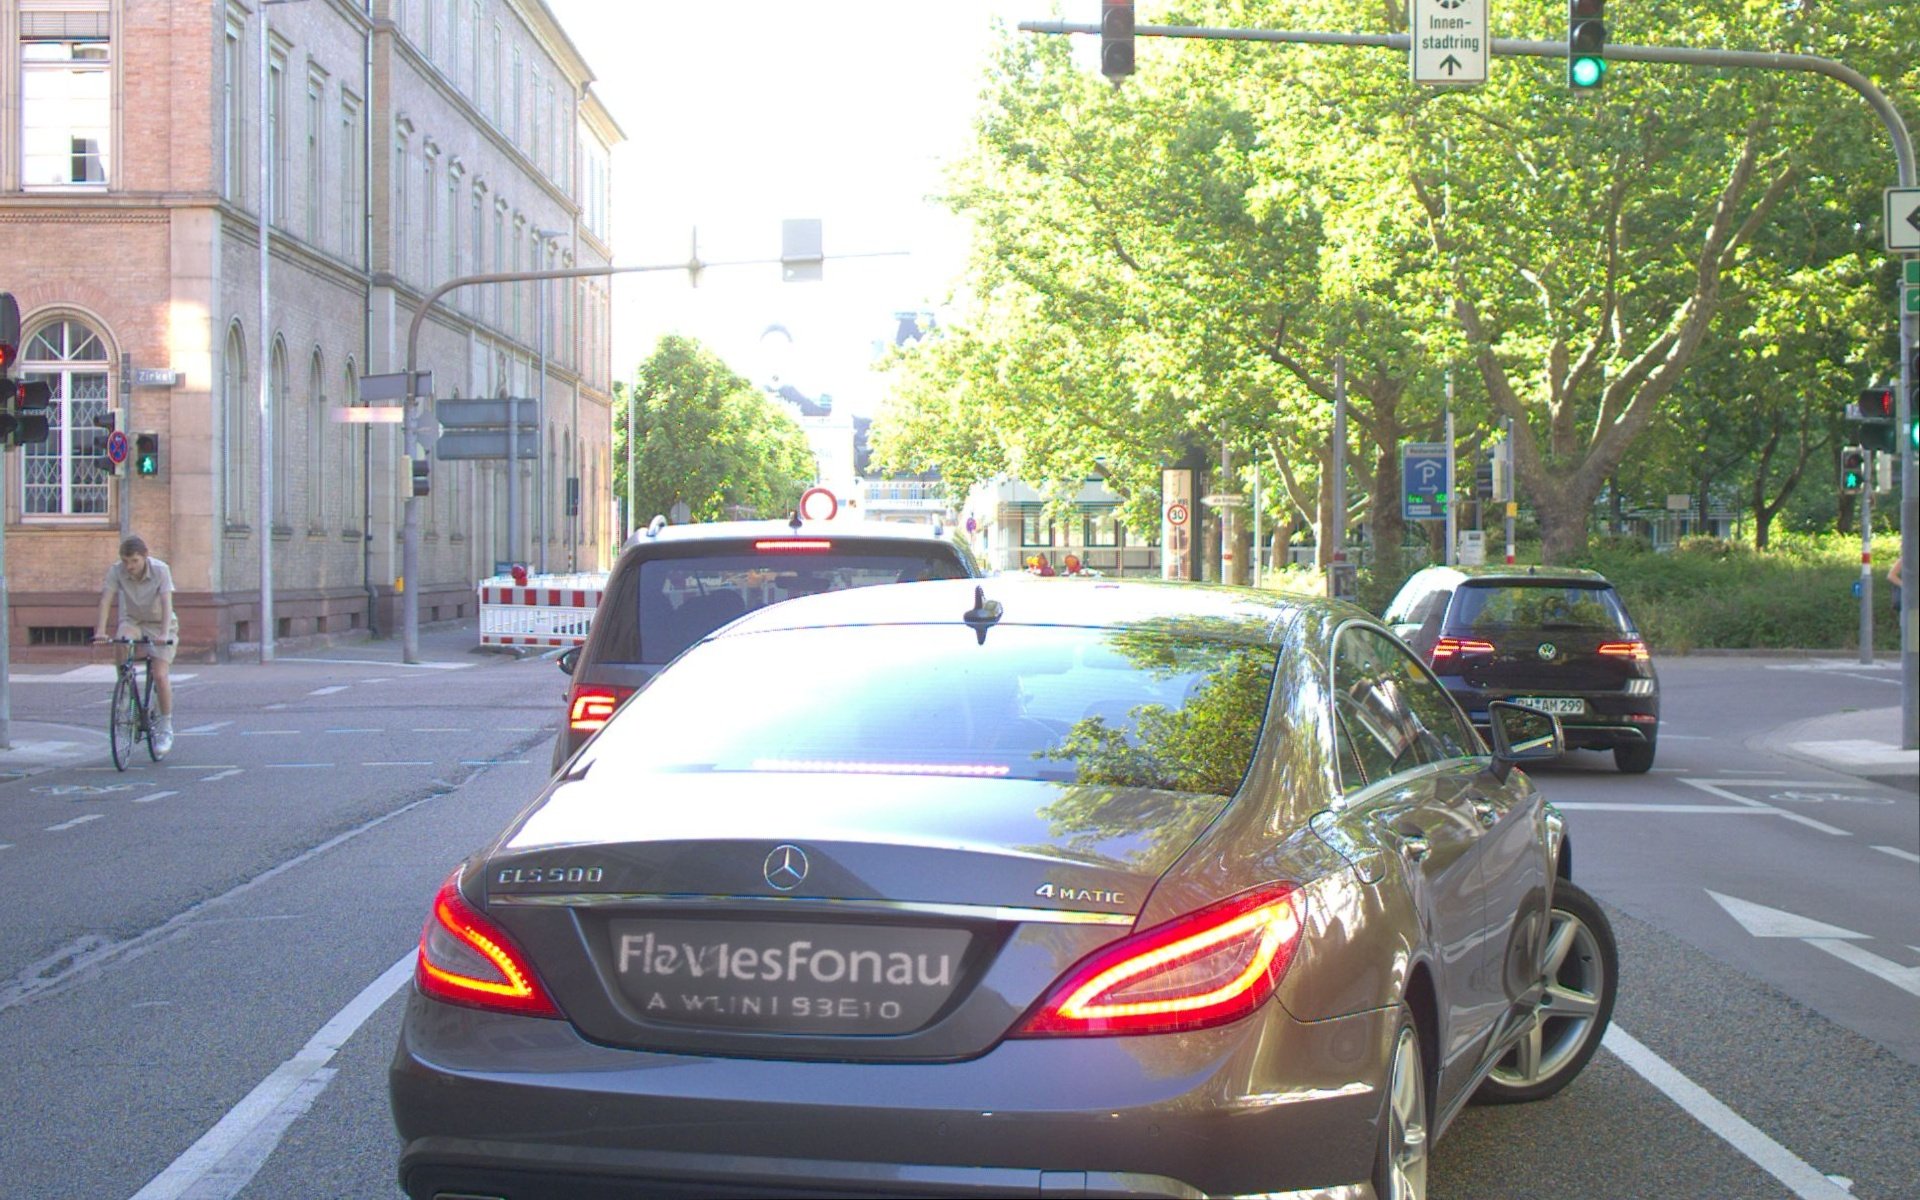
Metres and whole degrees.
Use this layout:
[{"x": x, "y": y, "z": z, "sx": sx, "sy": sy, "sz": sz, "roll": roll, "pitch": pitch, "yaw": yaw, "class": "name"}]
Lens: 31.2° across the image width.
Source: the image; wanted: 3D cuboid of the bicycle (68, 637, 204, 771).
[{"x": -5.948, "y": 0.732, "z": 24.897, "sx": 0.548, "sy": 0.888, "sz": 1.868, "roll": 1, "pitch": 1, "yaw": -1, "class": "bicycle"}]

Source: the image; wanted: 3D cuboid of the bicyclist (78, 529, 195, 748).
[{"x": -5.957, "y": 0.273, "z": 24.901, "sx": 0.648, "sy": 1.553, "sz": 0.807, "roll": 1, "pitch": 0, "yaw": -1, "class": "bicyclist"}]

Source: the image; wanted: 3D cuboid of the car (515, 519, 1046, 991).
[{"x": -0.578, "y": 0.511, "z": 13.746, "sx": 1.809, "sy": 1.607, "sz": 4.000, "roll": 0, "pitch": 1, "yaw": 1, "class": "car"}]

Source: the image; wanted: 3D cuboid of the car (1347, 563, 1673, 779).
[{"x": 3.962, "y": 0.465, "z": 25.339, "sx": 1.689, "sy": 1.435, "sz": 3.902, "roll": 1, "pitch": 1, "yaw": -1, "class": "car"}]

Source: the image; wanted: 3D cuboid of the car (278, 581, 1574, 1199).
[{"x": 0.287, "y": 0.685, "z": 7.882, "sx": 1.844, "sy": 1.424, "sz": 4.514, "roll": 1, "pitch": 1, "yaw": 15, "class": "car"}]

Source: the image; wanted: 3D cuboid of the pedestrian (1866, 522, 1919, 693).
[{"x": 10.172, "y": 0.080, "z": 36.781, "sx": 0.732, "sy": 1.802, "sz": 0.909, "roll": -1, "pitch": -1, "yaw": 2, "class": "pedestrian"}]
